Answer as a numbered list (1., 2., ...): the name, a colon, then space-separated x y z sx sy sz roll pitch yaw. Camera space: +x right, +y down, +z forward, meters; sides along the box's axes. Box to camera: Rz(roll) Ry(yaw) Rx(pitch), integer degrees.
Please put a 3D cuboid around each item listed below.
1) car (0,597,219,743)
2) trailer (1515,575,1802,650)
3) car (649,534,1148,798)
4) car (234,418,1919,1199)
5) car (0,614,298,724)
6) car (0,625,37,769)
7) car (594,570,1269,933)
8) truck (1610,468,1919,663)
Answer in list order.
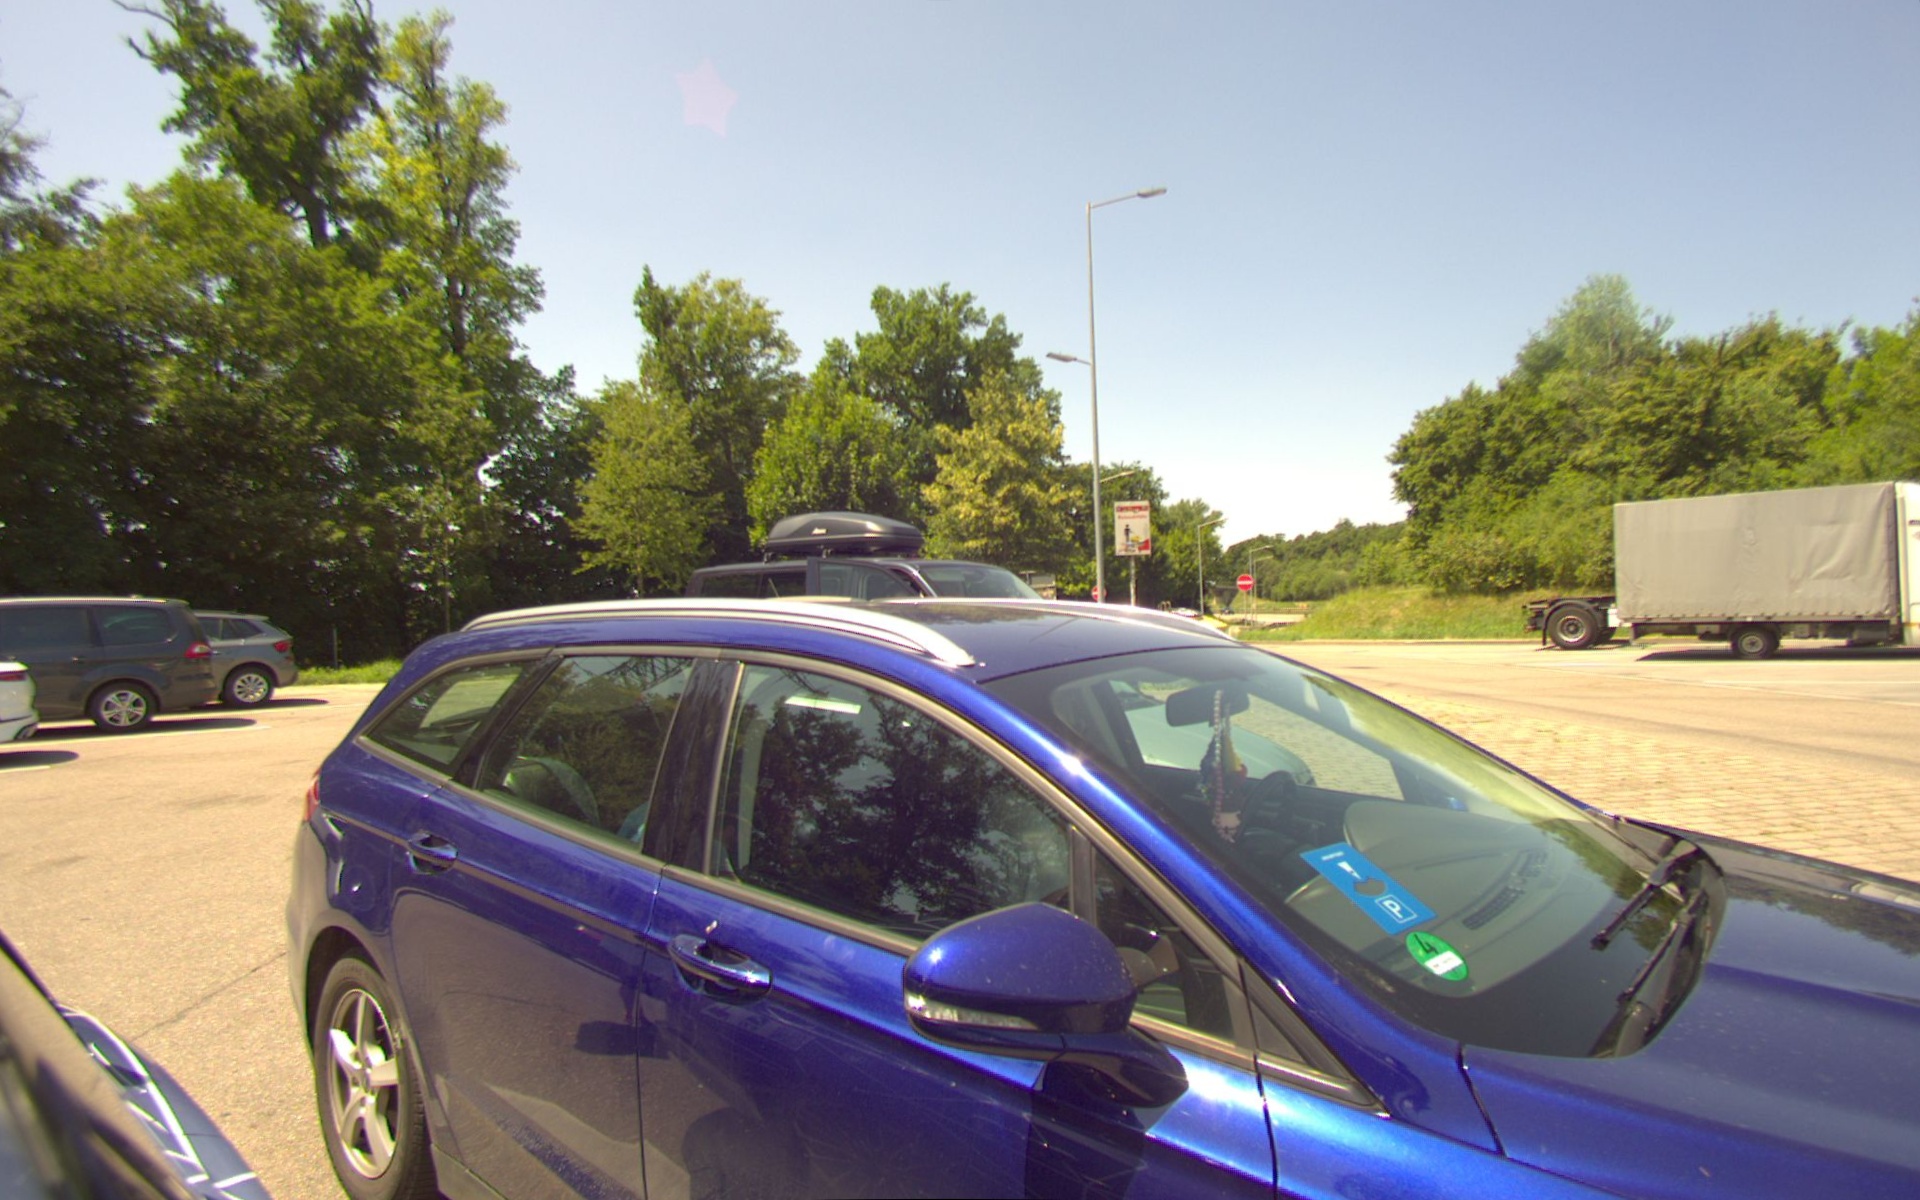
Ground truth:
1. car: -11.715 0.834 12.577 3.830 1.703 1.883 0 -2 -45
2. trailer: 16.330 0.350 23.907 5.393 1.608 1.576 -2 -1 41
3. car: -0.733 0.533 9.407 4.427 1.875 2.022 -2 -1 40
4. car: 0.238 0.650 2.074 4.427 1.455 1.763 -2 -1 40
5. car: -12.611 0.971 15.617 3.753 1.488 1.743 0 -1 -45
6. car: -10.961 0.942 9.188 3.753 1.377 1.804 0 -1 -45
7. car: -0.366 0.650 5.796 3.739 1.424 1.587 -2 -1 40
8. truck: 16.710 -0.615 18.834 7.308 3.258 2.294 -5 -2 43
